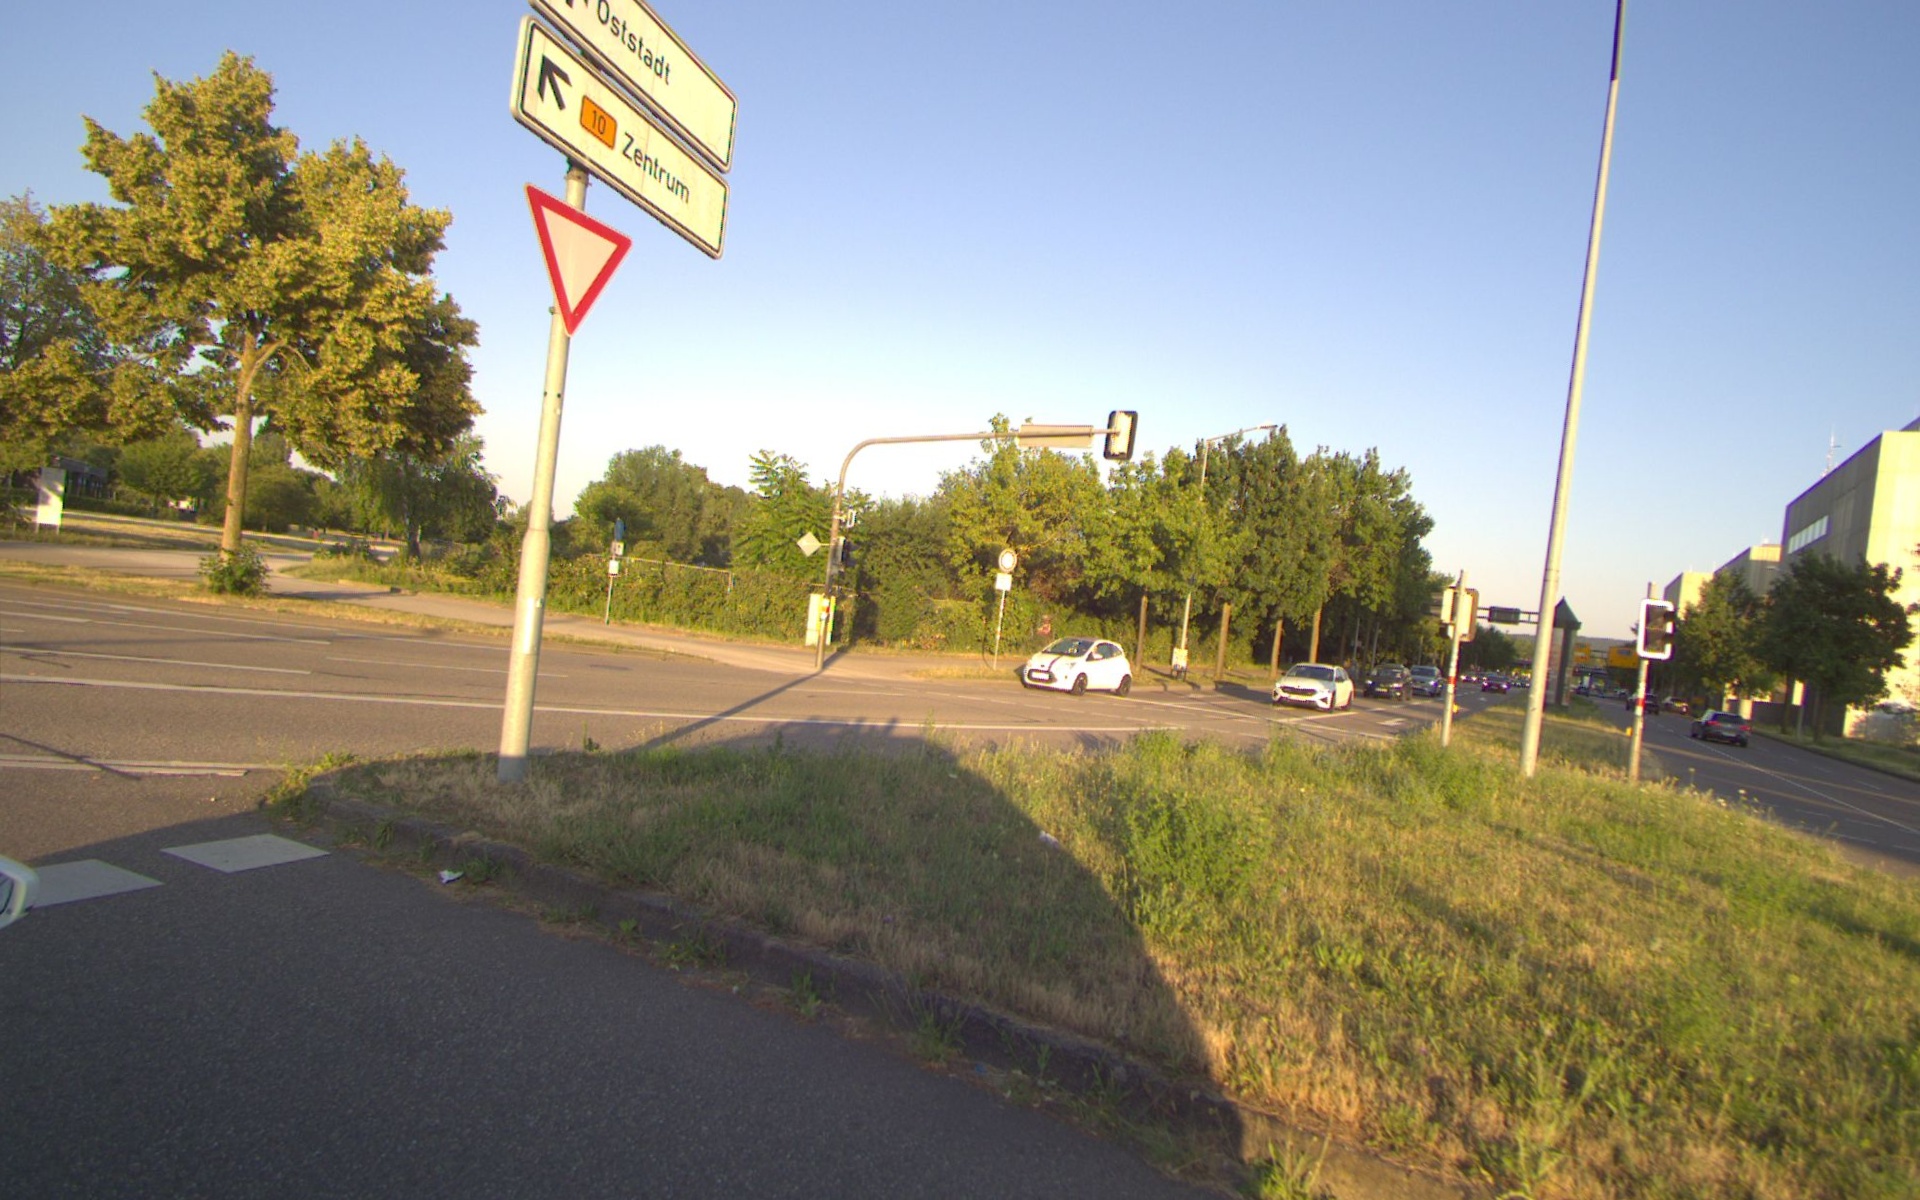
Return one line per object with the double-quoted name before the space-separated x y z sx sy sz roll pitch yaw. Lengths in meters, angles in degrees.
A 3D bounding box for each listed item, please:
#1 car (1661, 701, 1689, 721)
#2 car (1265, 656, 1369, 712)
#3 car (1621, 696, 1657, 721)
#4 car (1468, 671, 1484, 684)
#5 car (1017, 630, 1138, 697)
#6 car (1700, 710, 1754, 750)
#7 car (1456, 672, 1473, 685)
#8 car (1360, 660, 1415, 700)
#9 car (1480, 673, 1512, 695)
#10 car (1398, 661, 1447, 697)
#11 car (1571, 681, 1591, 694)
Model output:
"car" 66.648 10.339 93.860 1.723 1.507 4.125 8 0 32
"car" 11.414 2.693 31.966 1.702 1.466 4.533 7 0 38
"car" 53.507 8.531 79.320 1.787 1.544 4.128 8 0 29
"car" 73.116 10.975 142.569 1.592 1.537 3.710 6 -1 31
"car" 3.179 1.711 26.712 1.531 1.460 3.475 6 -1 37
"car" 34.996 5.892 45.895 1.725 1.442 4.119 8 1 38
"car" 64.672 10.064 128.967 1.592 1.324 3.710 6 -1 31
"car" 20.667 3.881 48.515 1.773 1.652 4.449 6 -1 30
"car" 44.162 6.938 82.832 1.815 1.478 4.572 8 -1 32
"car" 27.431 4.695 59.540 1.891 1.775 4.912 6 -1 32
"car" 88.965 12.553 144.175 1.966 1.489 3.994 8 0 29
